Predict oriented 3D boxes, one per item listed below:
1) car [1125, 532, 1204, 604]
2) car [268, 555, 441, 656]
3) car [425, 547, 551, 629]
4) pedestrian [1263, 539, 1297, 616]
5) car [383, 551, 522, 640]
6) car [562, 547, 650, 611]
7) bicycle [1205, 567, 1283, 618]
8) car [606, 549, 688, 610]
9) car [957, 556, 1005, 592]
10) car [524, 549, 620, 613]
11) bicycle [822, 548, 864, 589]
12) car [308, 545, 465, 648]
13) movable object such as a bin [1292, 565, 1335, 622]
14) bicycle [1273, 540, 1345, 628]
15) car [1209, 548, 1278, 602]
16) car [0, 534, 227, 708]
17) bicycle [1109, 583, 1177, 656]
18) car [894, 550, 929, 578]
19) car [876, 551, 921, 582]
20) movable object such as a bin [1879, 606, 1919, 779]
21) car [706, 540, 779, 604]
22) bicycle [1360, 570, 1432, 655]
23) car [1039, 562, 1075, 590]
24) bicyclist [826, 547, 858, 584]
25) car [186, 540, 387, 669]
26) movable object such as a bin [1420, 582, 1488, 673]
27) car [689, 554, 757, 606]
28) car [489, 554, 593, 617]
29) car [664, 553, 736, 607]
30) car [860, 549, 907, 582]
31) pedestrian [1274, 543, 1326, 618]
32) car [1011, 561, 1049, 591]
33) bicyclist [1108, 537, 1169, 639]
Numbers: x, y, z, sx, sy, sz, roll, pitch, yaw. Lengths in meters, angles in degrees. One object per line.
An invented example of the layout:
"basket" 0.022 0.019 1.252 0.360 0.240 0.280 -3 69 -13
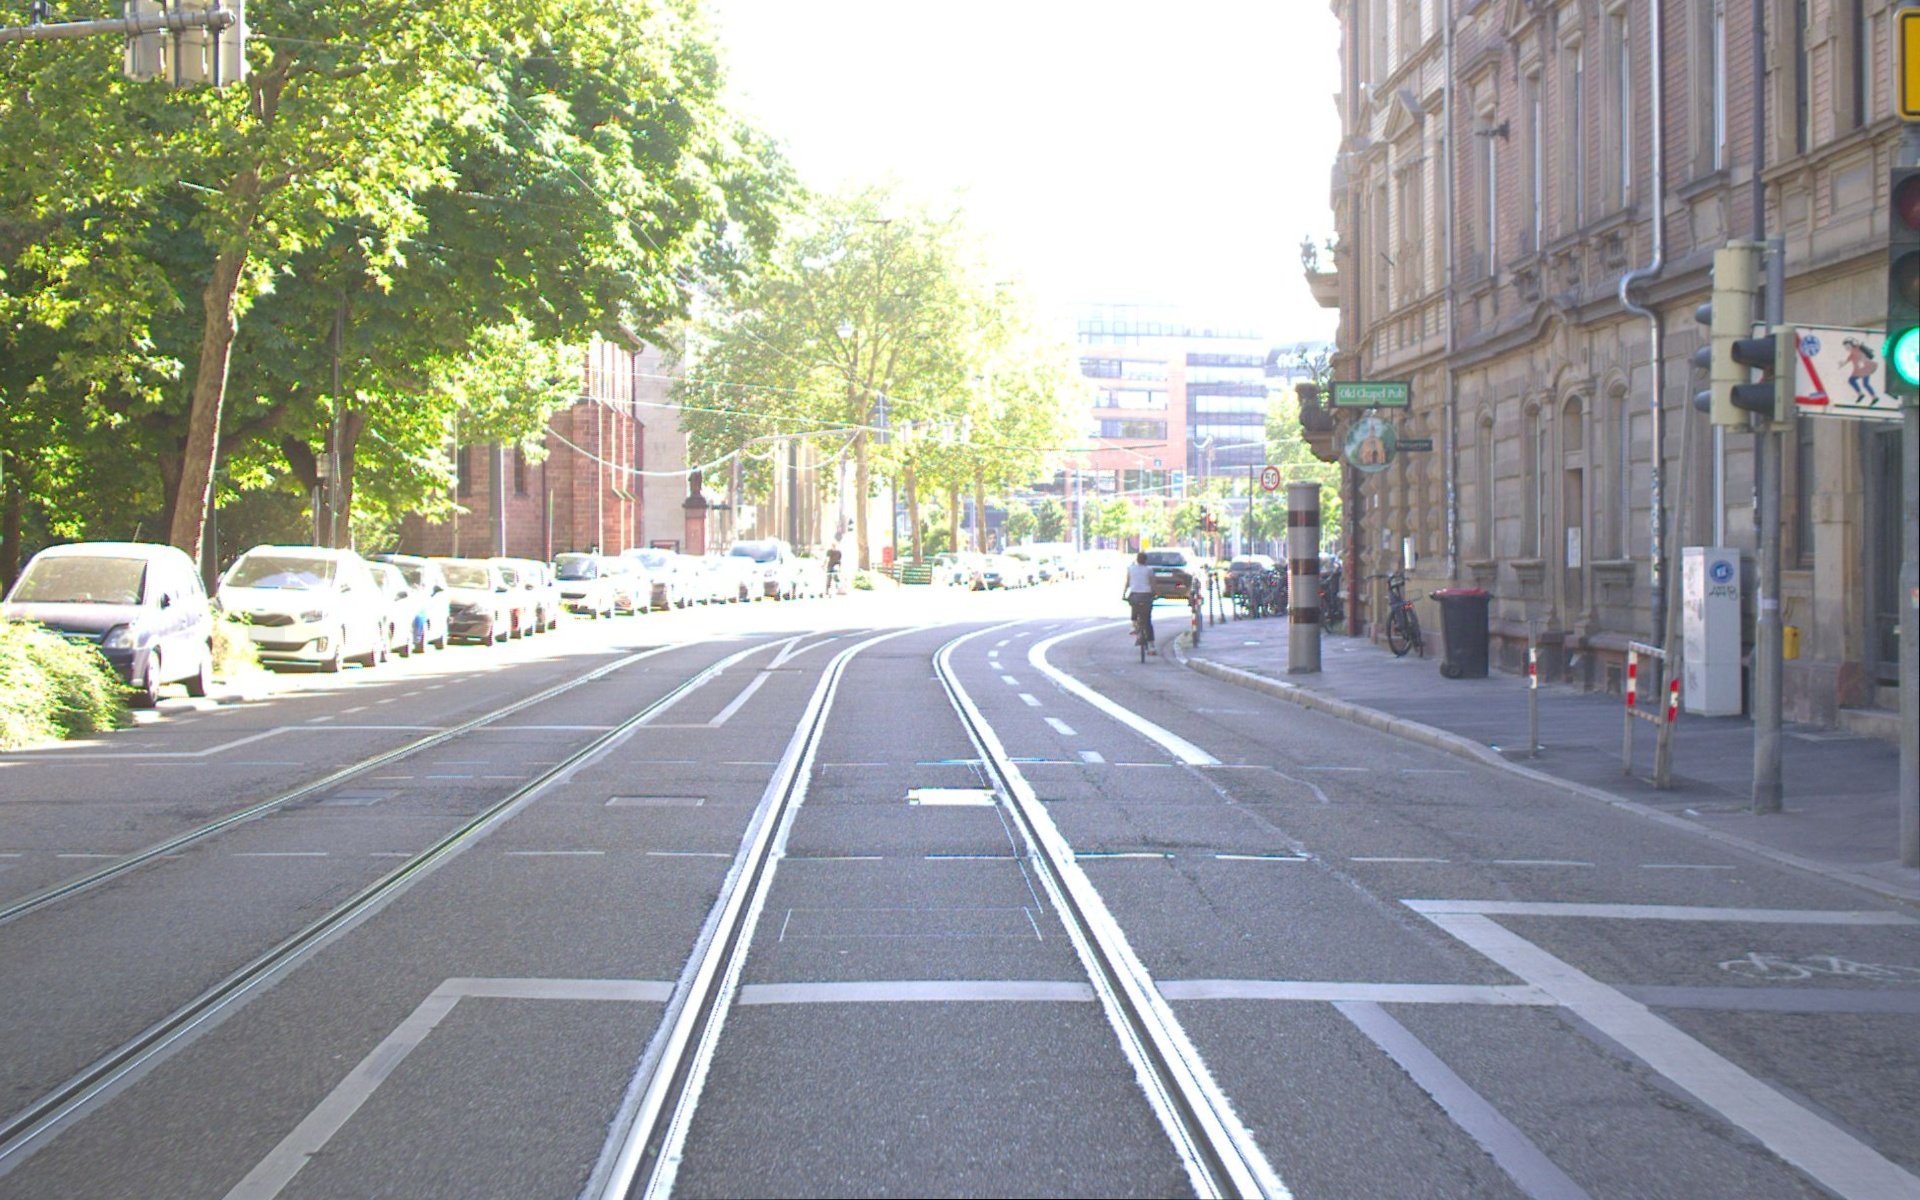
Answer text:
"car" 5.955 -0.930 100.446 1.993 2.007 4.000 1 0 -1
"car" -8.990 0.068 51.346 1.748 1.417 4.043 1 0 1
"car" -9.131 -0.242 66.771 1.748 1.500 4.043 1 0 1
"pedestrian" 7.955 -0.552 85.434 0.784 1.882 0.970 1 0 7
"car" -8.997 -0.091 61.212 1.748 1.504 4.043 1 0 1
"car" -9.169 -0.541 89.225 1.748 1.581 4.043 1 0 1
"bicycle" 6.402 -0.164 77.290 0.641 1.114 2.292 1 0 36
"car" -8.599 -0.564 94.673 1.748 1.581 4.043 1 0 1
"car" 0.879 -1.074 143.067 1.748 1.417 4.043 1 0 3
"car" -9.471 -0.470 84.155 1.748 1.490 4.043 1 0 1
"bicycle" -4.603 -1.237 135.154 1.234 1.567 2.896 1 0 6
"car" -9.246 -0.068 55.695 1.748 1.581 4.043 1 0 1
"movable object such as a bin" 6.868 -0.128 66.877 0.695 1.089 0.742 1 0 -3
"bicycle" 6.276 -0.289 61.648 0.971 1.510 3.244 1 0 11
"car" 9.980 -0.883 121.468 2.027 1.842 4.298 1 0 0
"car" -8.712 0.186 35.068 1.545 1.653 3.762 1 0 1
"bicycle" 2.840 0.295 53.486 0.856 1.084 2.487 1 0 -1
"car" -2.819 -2.092 200.156 1.748 1.619 4.043 1 0 3
"car" -2.899 -1.572 162.731 1.748 1.417 4.043 1 0 3
"movable object such as a bin" 6.441 0.600 22.430 0.620 1.106 0.781 1 0 -4
"car" -7.259 -0.923 114.994 2.058 2.045 4.043 1 0 1
"bicycle" 5.937 0.159 46.939 0.639 1.114 2.297 1 0 -1
"car" 5.182 -1.273 183.367 1.748 1.417 4.043 1 0 3
"bicyclist" -4.646 -1.366 135.124 1.078 1.423 1.146 1 0 7
"car" -8.881 0.044 45.609 1.748 1.602 4.043 1 0 1
"movable object such as a bin" 5.829 0.321 40.606 0.673 1.032 0.813 0 2 -1
"car" -7.554 -0.638 109.955 1.748 1.581 4.043 1 0 1
"car" -9.564 -0.339 78.721 1.748 1.359 4.043 1 0 1
"car" -7.907 -0.613 104.758 1.748 1.581 4.043 1 0 1
"car" -3.394 -1.519 152.689 1.748 1.417 4.043 1 0 3
"pedestrian" 8.166 -0.465 82.592 1.054 1.754 1.332 1 0 -1
"car" 3.557 -1.210 173.594 1.748 1.417 4.043 1 0 3
"bicyclist" 2.770 -0.194 53.438 0.838 1.552 0.965 1 0 -1
